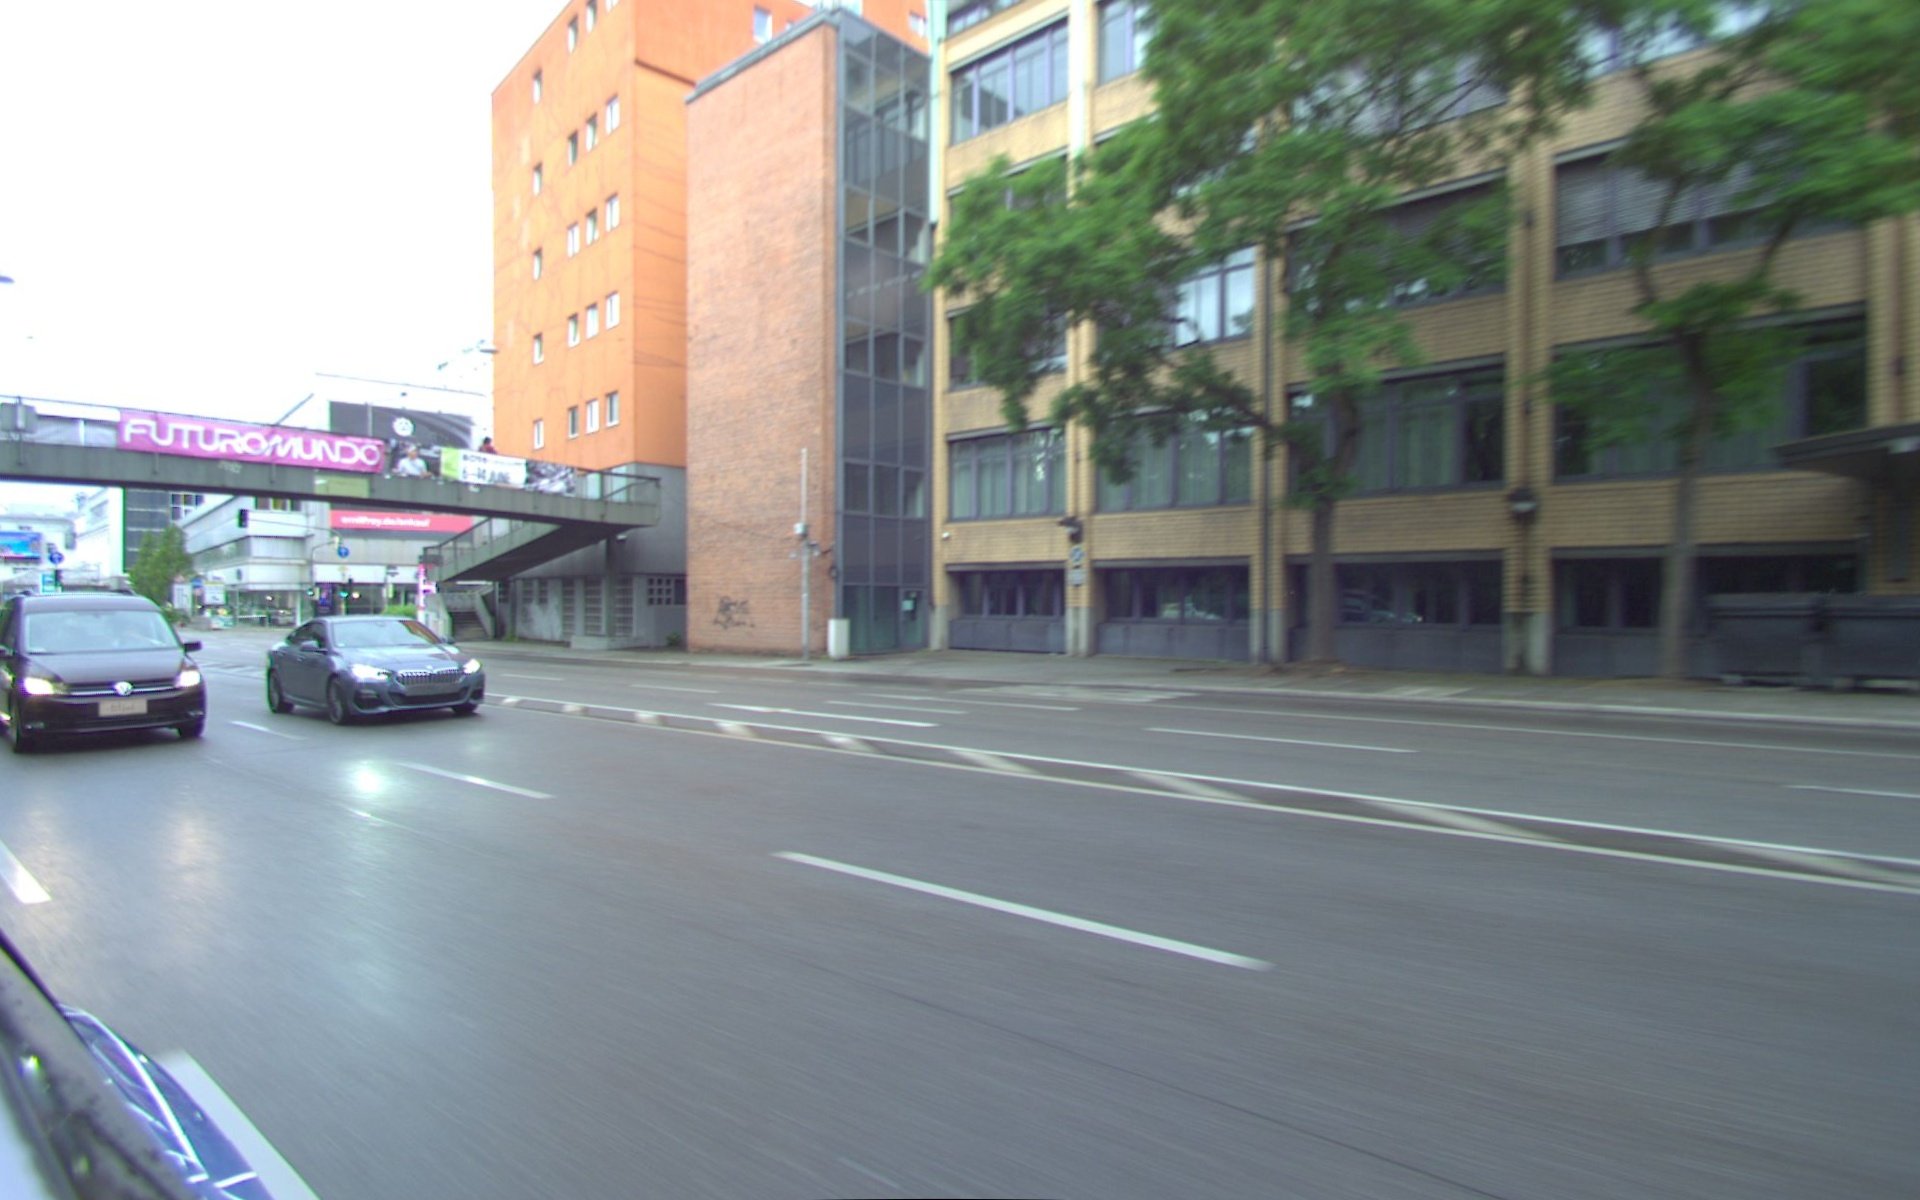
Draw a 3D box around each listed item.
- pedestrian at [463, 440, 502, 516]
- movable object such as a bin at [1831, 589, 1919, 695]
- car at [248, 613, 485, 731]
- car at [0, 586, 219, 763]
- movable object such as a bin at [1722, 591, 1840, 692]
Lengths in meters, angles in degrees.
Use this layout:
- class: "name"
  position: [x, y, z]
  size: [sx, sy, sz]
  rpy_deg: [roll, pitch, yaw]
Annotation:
- class: "pedestrian"
  position: [-15.122, -3.852, 32.062]
  size: [0.737, 2.272, 0.823]
  rpy_deg: [0, -1, 35]
- class: "movable object such as a bin"
  position: [13.477, 0.588, 14.524]
  size: [1.370, 1.447, 1.058]
  rpy_deg: [-2, 0, 37]
- class: "car"
  position: [-8.705, 0.935, 14.656]
  size: [4.538, 1.425, 1.647]
  rpy_deg: [-1, 0, 42]
- class: "car"
  position: [-10.790, 0.798, 12.445]
  size: [3.997, 1.804, 1.819]
  rpy_deg: [-2, 0, 41]
- class: "movable object such as a bin"
  position: [12.409, 0.605, 15.354]
  size: [1.312, 1.447, 0.964]
  rpy_deg: [-2, 0, 37]
